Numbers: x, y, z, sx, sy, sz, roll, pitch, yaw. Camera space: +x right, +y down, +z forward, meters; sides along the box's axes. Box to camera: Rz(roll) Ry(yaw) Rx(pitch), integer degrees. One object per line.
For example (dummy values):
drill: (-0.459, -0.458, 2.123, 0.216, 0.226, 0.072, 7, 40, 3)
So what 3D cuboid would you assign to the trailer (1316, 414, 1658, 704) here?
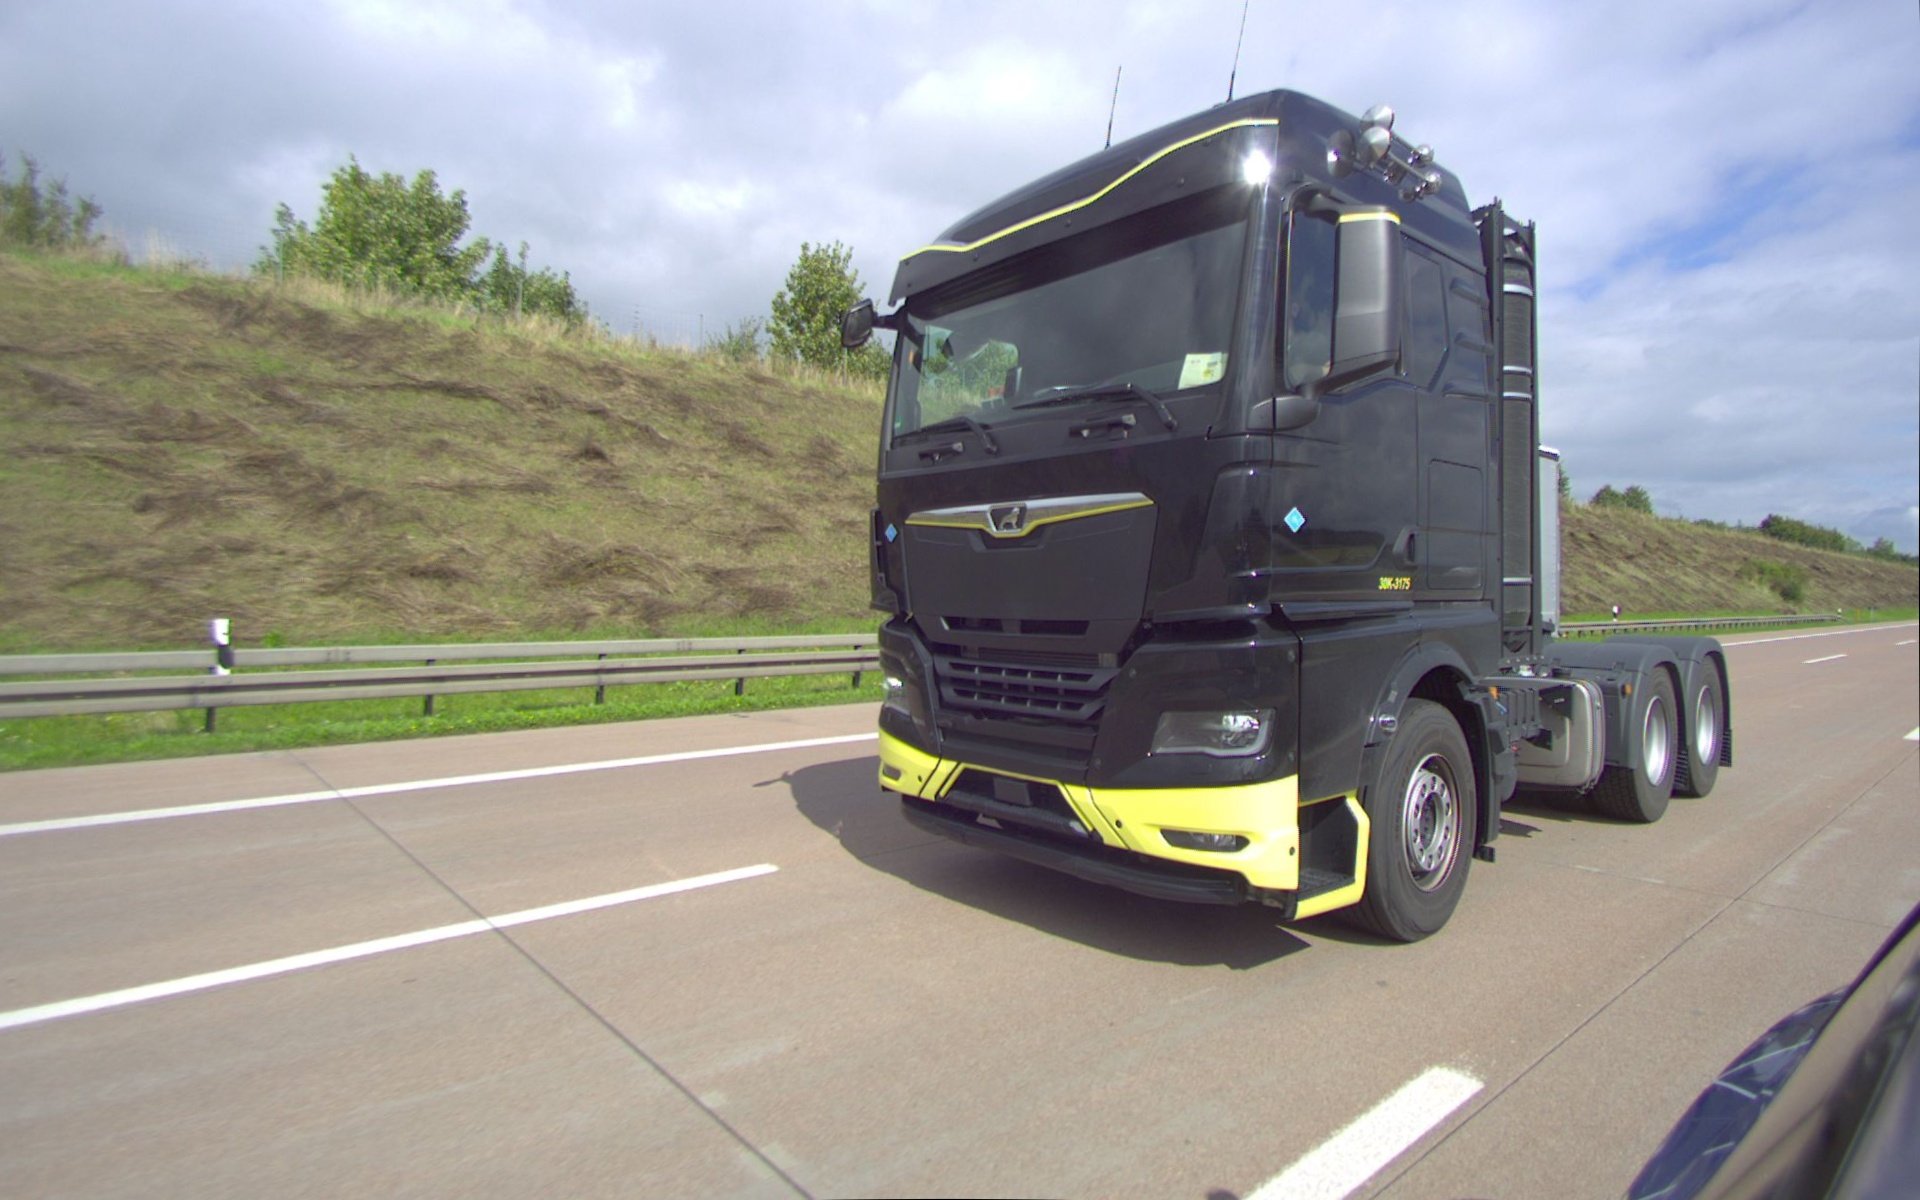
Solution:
trailer: (9.739, -0.616, 18.099, 8.524, 4.063, 2.750, -1, 0, -43)

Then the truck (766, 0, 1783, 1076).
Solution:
truck: (2.978, -0.437, 6.819, 8.178, 3.594, 2.851, -1, 0, -43)

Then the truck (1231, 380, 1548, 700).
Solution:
truck: (6.446, -0.756, 14.999, 4.469, 3.941, 2.751, 0, 0, -43)
